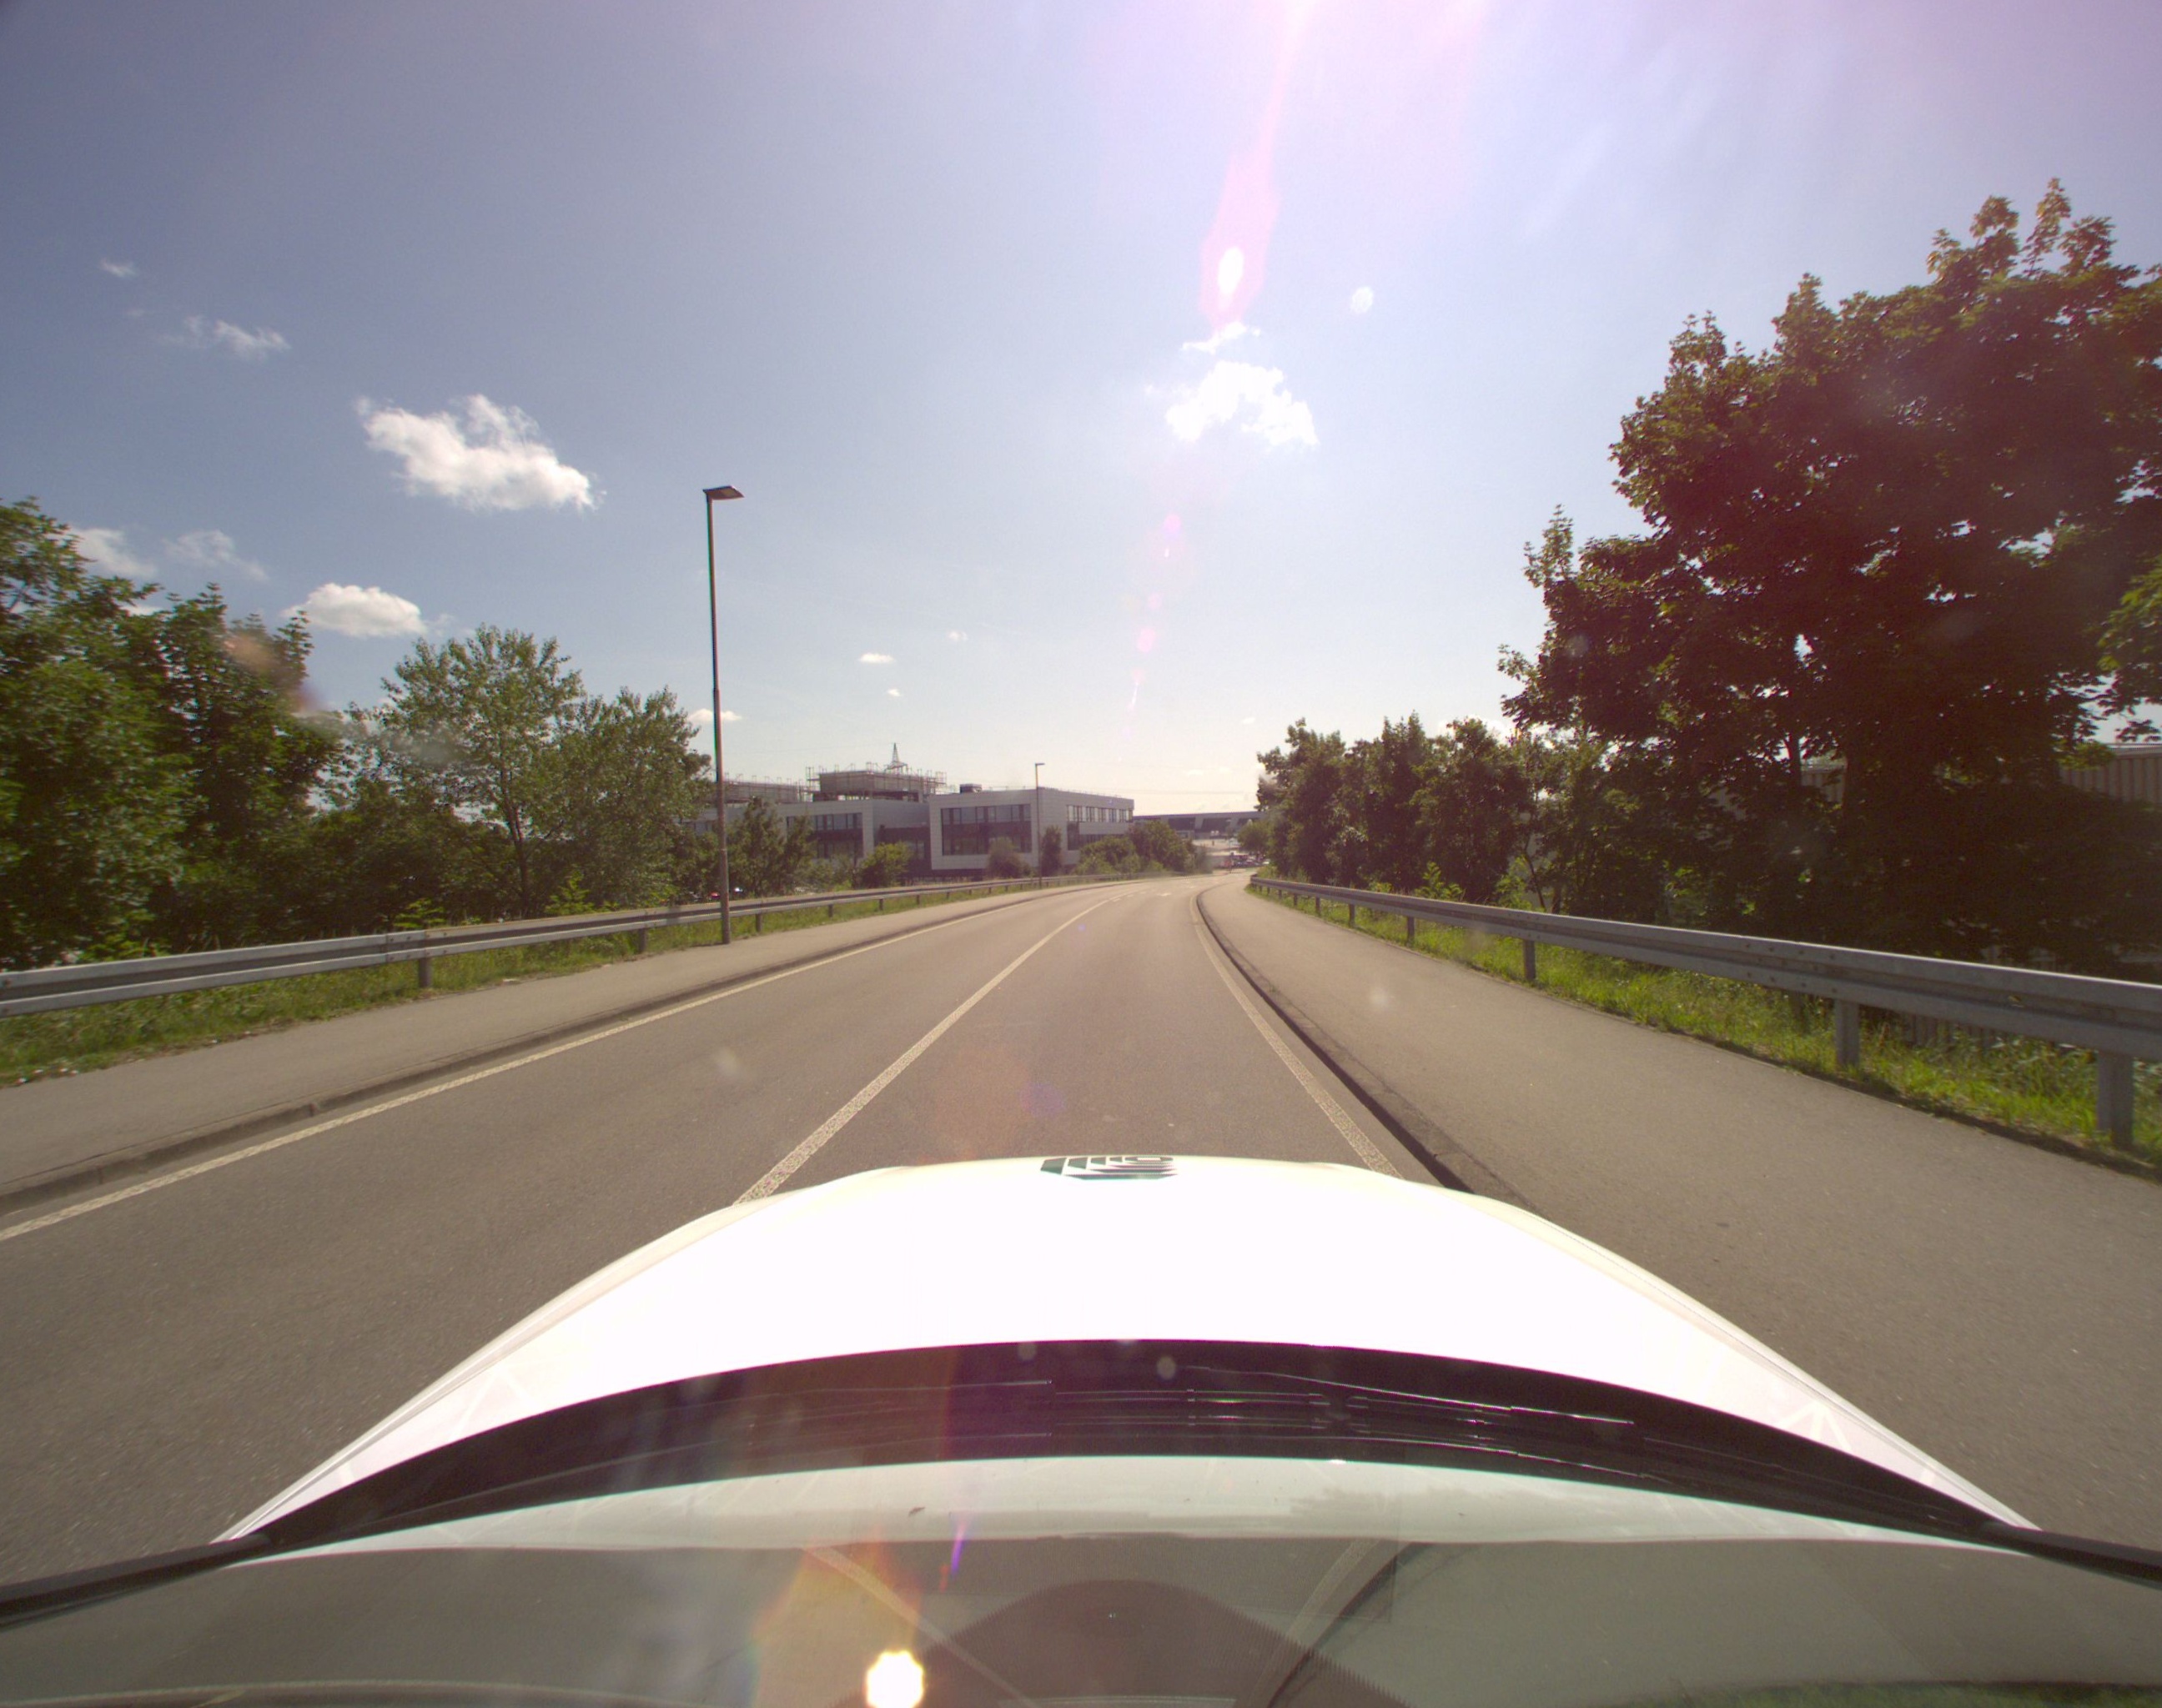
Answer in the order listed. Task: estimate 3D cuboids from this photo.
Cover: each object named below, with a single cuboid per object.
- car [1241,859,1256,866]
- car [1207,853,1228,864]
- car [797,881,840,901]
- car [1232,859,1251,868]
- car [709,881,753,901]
[{"bbox_3d":[45.062,2.241,219.044,3.962,1.850,1.840,-1,0,10],"label":"car"},{"bbox_3d":[30.808,1.026,183.575,2.010,2.608,4.314,0,-1,-40],"label":"car"},{"bbox_3d":[-28.510,3.980,88.644,3.975,2.013,1.960,0,1,-1],"label":"car"},{"bbox_3d":[37.010,2.120,188.004,2.011,1.903,3.952,-2,2,-42],"label":"car"},{"bbox_3d":[-39.147,4.154,91.158,3.976,2.013,1.999,-1,1,-2],"label":"car"}]
